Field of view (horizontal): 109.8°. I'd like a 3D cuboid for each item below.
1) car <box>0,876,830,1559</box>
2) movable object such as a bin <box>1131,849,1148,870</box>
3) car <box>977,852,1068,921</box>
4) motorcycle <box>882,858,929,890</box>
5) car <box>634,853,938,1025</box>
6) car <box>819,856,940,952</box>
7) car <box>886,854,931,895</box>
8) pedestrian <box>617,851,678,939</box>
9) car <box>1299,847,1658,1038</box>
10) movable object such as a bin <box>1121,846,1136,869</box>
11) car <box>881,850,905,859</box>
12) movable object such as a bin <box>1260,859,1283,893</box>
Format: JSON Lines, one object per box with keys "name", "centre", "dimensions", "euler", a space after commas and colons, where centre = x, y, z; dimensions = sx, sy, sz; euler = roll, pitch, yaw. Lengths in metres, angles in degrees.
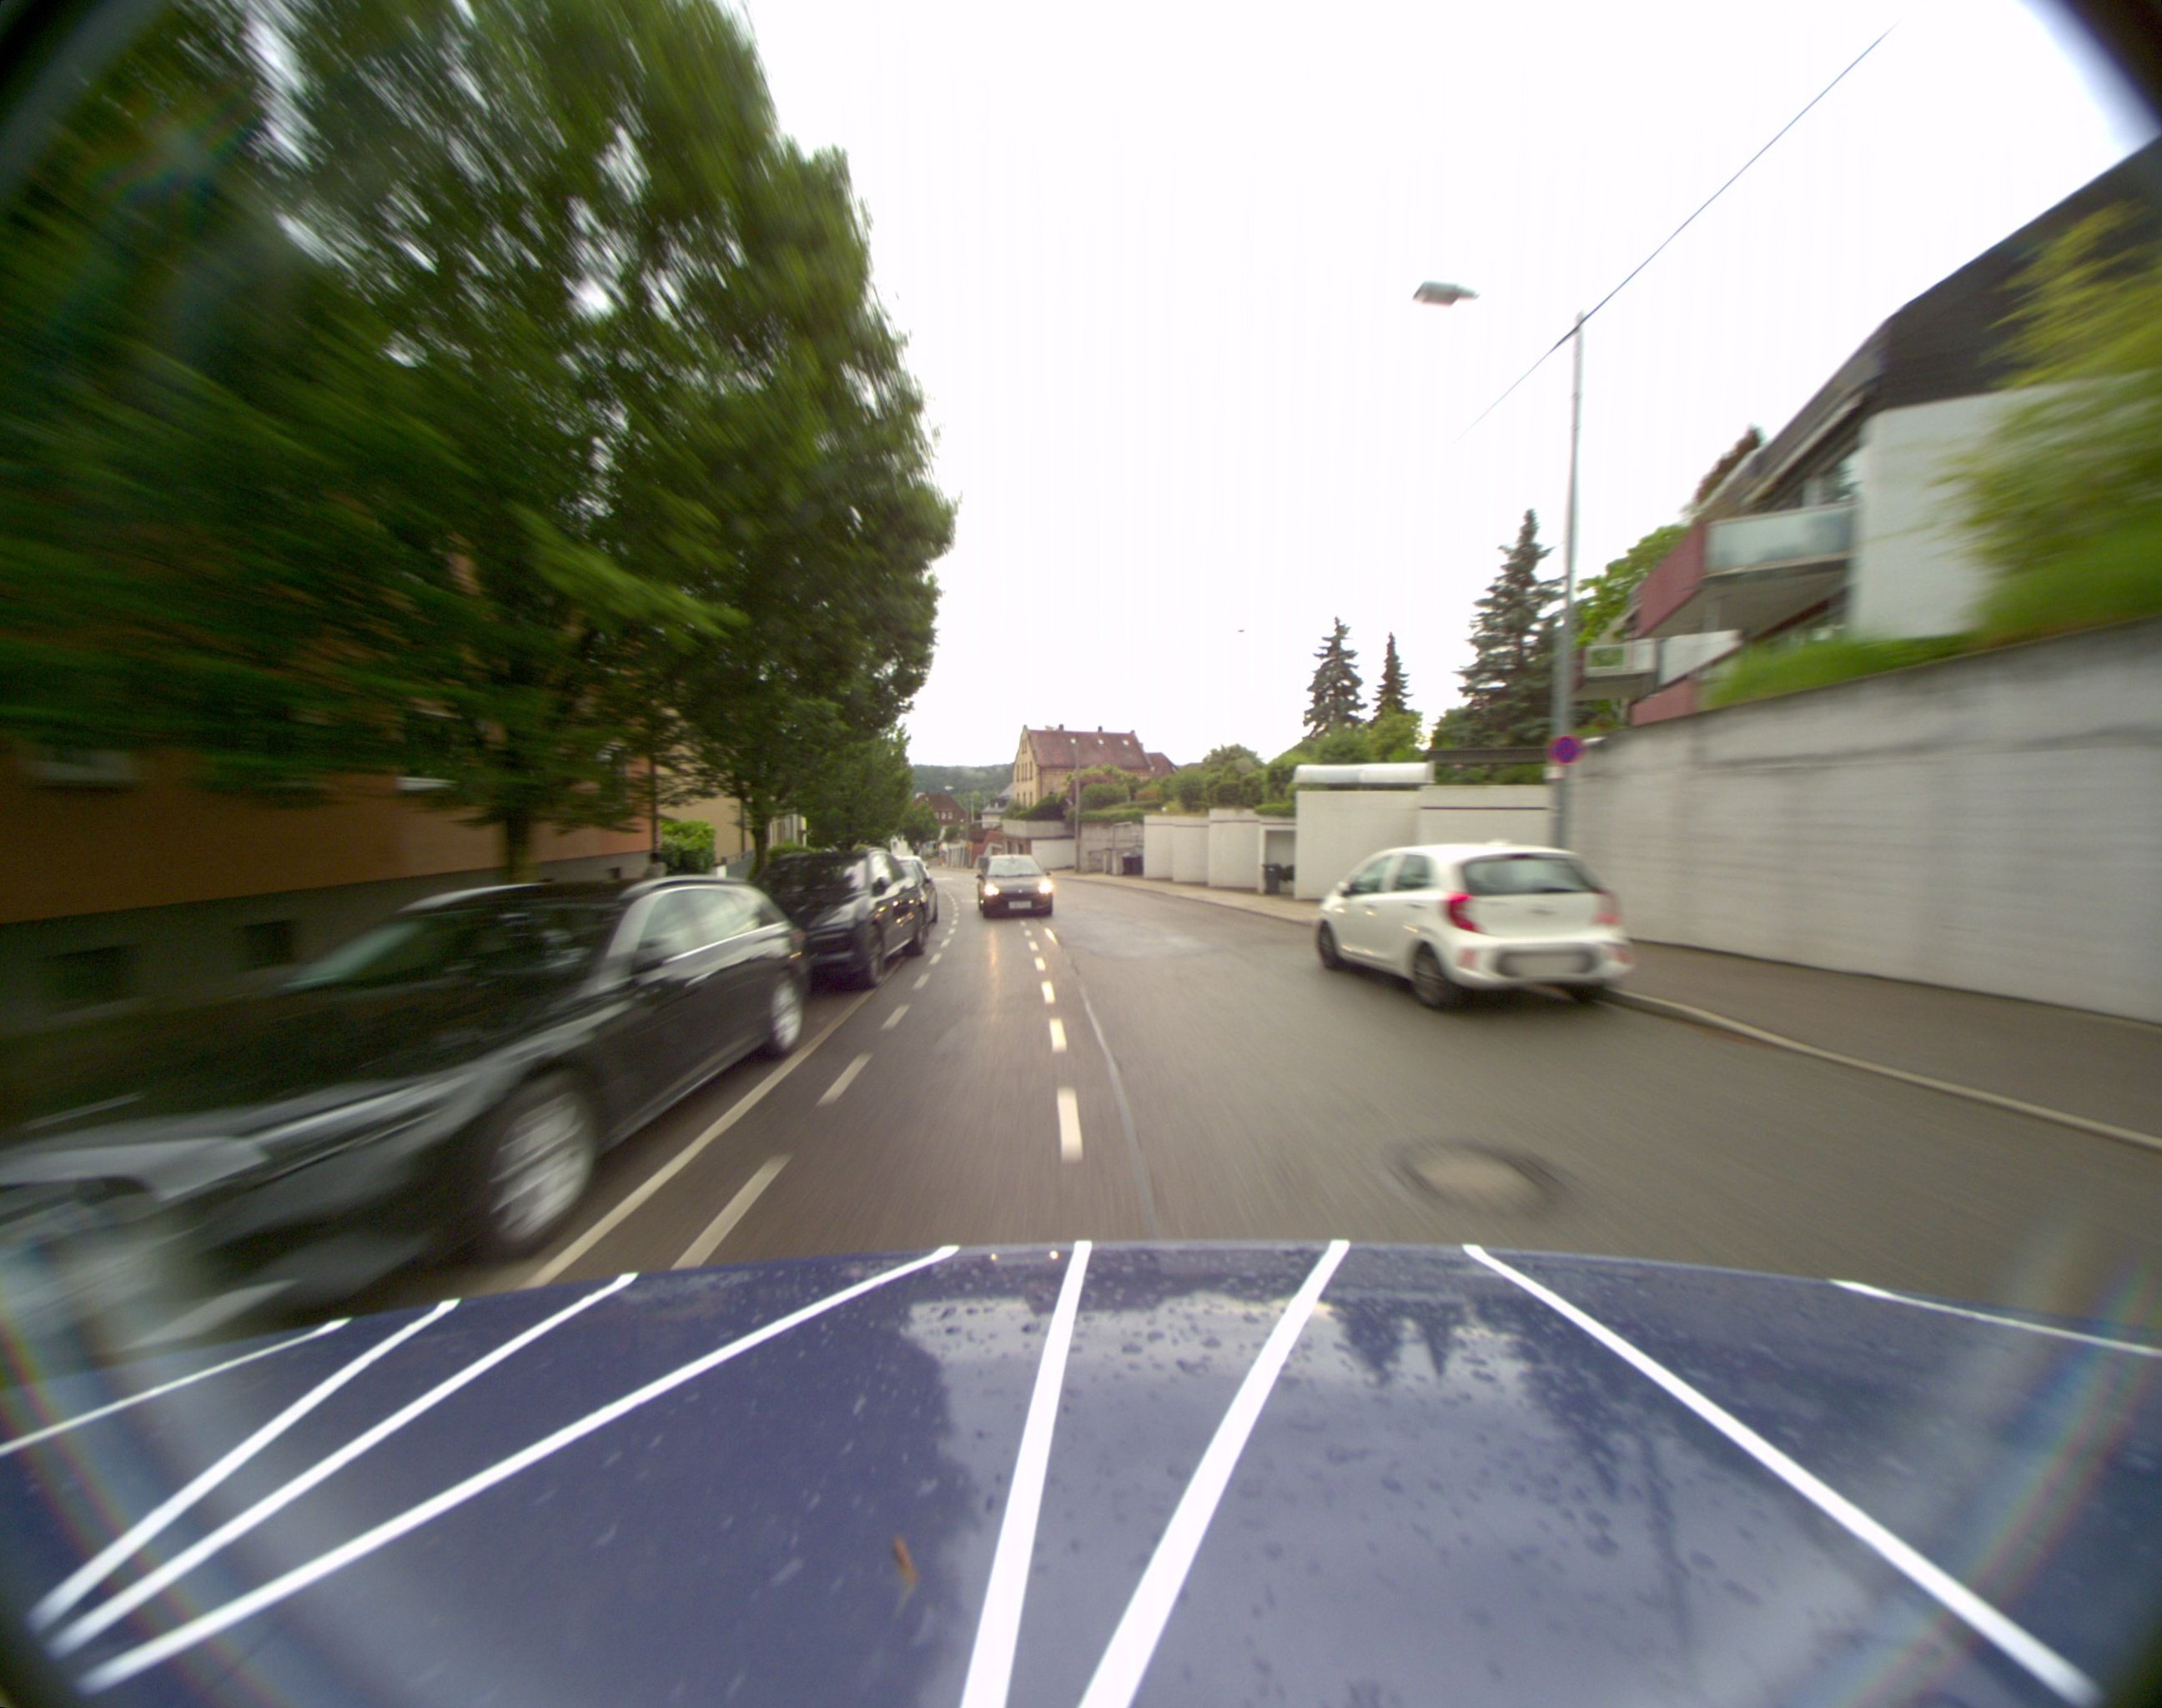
{"name": "car", "centre": [-3.131, 1.004, 4.360], "dimensions": [1.867, 1.461, 5.054], "euler": [-4, 1, -3]}
{"name": "movable object such as a bin", "centre": [2.881, 0.289, 37.554], "dimensions": [0.608, 0.986, 0.602], "euler": [-2, 1, 27]}
{"name": "car", "centre": [-1.609, 0.748, 19.517], "dimensions": [1.894, 1.521, 4.053], "euler": [-2, 0, -10]}
{"name": "motorcycle", "centre": [-7.946, 0.881, 34.387], "dimensions": [1.921, 1.322, 0.786], "euler": [-3, 1, -19]}
{"name": "car", "centre": [-3.455, 0.857, 10.257], "dimensions": [2.059, 1.646, 5.234], "euler": [-1, 1, -1]}
{"name": "car", "centre": [-3.957, 0.872, 15.684], "dimensions": [1.861, 1.572, 4.853], "euler": [-1, 1, -9]}
{"name": "car", "centre": [-7.204, 0.799, 31.698], "dimensions": [1.663, 1.481, 3.995], "euler": [-3, 1, -13]}
{"name": "pedestrian", "centre": [-8.643, 0.798, 15.177], "dimensions": [0.763, 1.710, 0.902], "euler": [1, 0, -9]}
{"name": "car", "centre": [3.762, 0.704, 8.022], "dimensions": [1.631, 1.507, 3.831], "euler": [-1, 0, -3]}
{"name": "movable object such as a bin", "centre": [2.367, 0.174, 37.807], "dimensions": [0.527, 1.140, 0.602], "euler": [-1, 3, 27]}
{"name": "car", "centre": [-37.743, 0.048, 152.787], "dimensions": [4.230, 1.663, 1.873], "euler": [-2, 1, -39]}
{"name": "movable object such as a bin", "centre": [5.669, 0.652, 22.583], "dimensions": [0.543, 0.957, 0.647], "euler": [-2, 1, 23]}
